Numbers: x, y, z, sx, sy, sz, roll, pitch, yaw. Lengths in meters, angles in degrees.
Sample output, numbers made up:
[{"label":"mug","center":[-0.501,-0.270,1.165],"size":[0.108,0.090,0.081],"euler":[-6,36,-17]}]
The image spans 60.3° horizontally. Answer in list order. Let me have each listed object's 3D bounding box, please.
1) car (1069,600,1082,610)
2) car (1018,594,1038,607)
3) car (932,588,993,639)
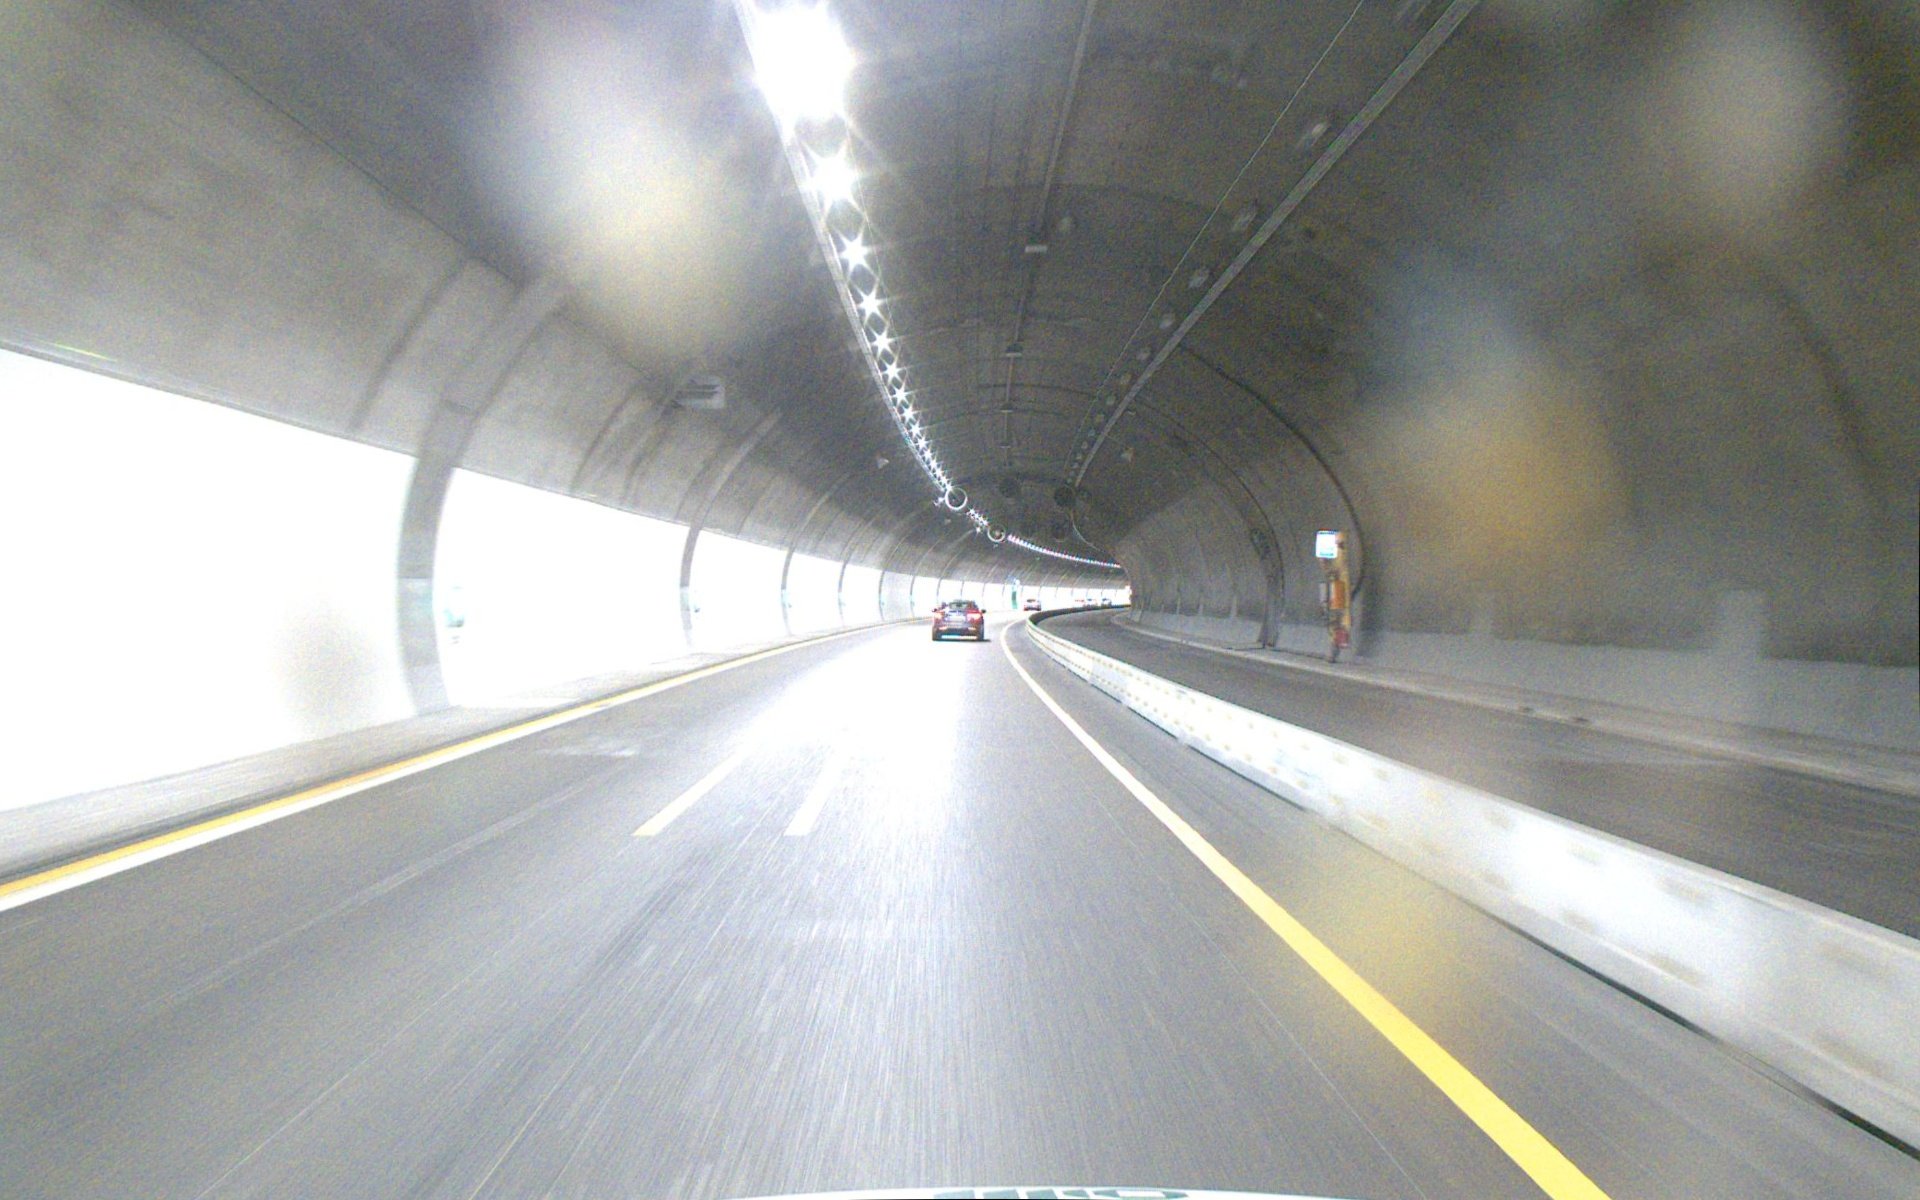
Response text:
[{"label":"car","center":[16.323,0.701,234.522],"size":[1.561,1.356,3.753],"euler":[1,0,8]},{"label":"car","center":[8.264,0.069,200.156],"size":[2.119,1.512,4.003],"euler":[0,0,7]},{"label":"car","center":[0.081,0.443,59.122],"size":[2.097,1.735,4.000],"euler":[0,0,-1]}]
